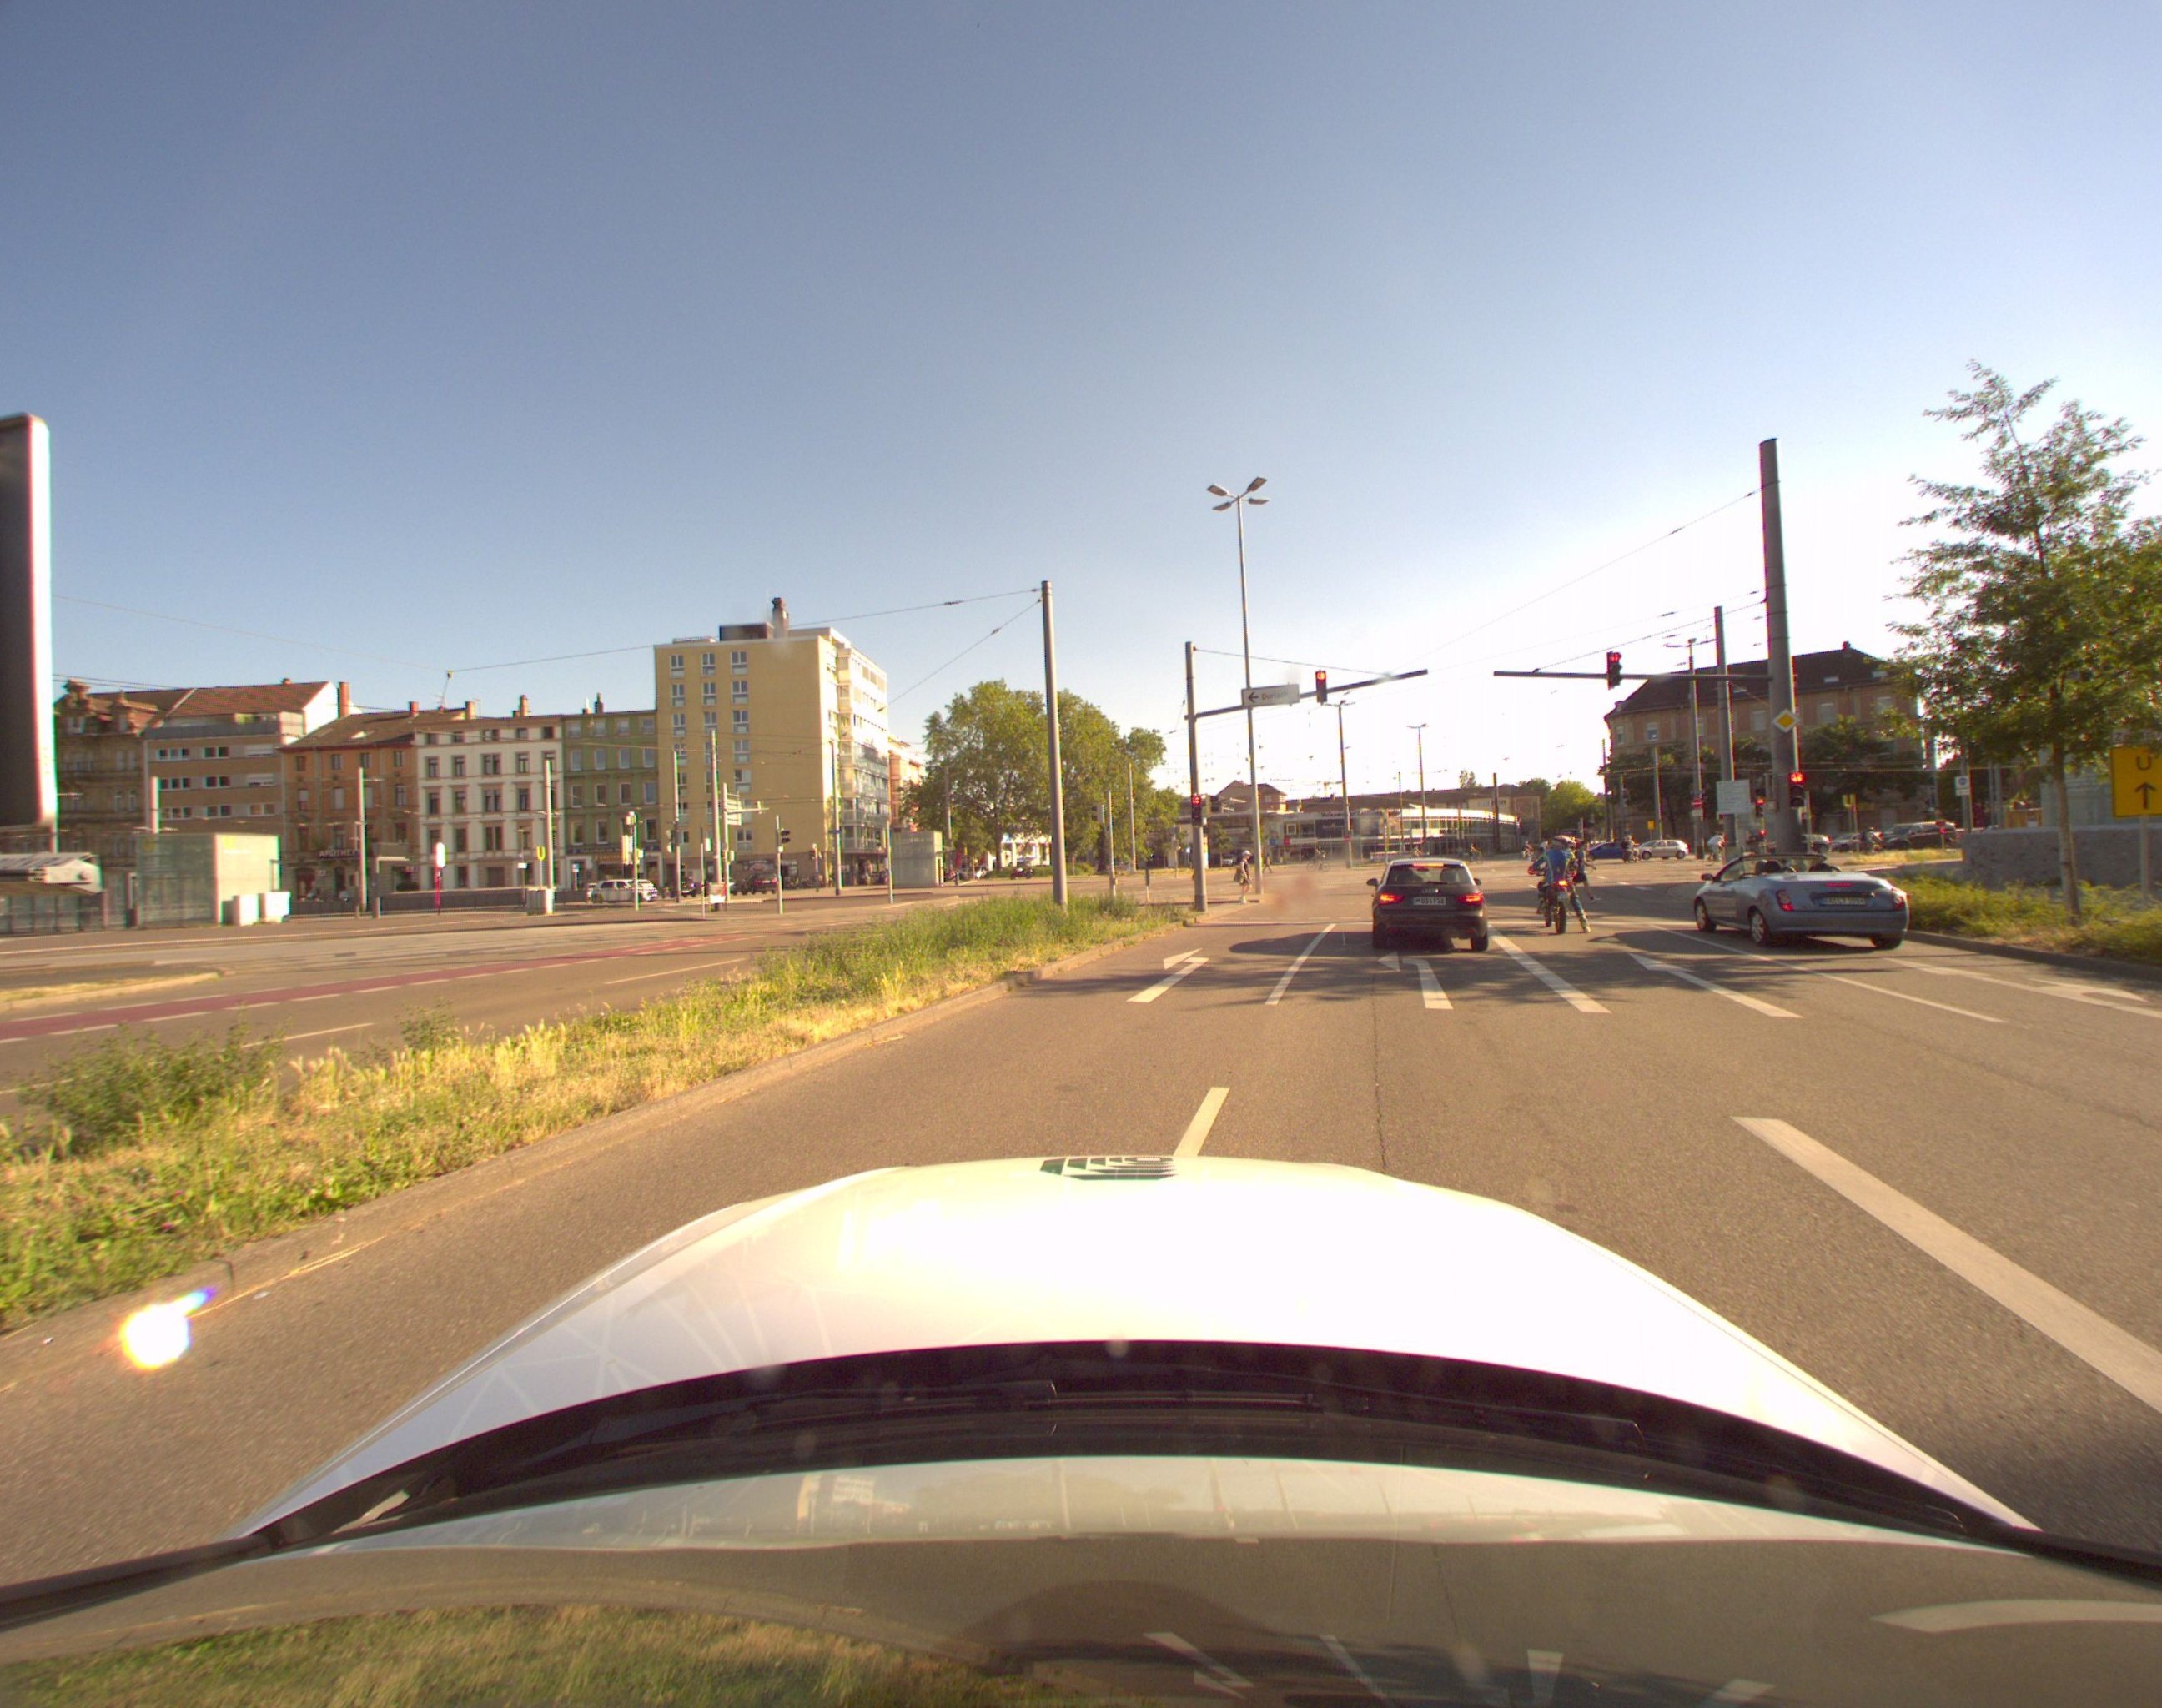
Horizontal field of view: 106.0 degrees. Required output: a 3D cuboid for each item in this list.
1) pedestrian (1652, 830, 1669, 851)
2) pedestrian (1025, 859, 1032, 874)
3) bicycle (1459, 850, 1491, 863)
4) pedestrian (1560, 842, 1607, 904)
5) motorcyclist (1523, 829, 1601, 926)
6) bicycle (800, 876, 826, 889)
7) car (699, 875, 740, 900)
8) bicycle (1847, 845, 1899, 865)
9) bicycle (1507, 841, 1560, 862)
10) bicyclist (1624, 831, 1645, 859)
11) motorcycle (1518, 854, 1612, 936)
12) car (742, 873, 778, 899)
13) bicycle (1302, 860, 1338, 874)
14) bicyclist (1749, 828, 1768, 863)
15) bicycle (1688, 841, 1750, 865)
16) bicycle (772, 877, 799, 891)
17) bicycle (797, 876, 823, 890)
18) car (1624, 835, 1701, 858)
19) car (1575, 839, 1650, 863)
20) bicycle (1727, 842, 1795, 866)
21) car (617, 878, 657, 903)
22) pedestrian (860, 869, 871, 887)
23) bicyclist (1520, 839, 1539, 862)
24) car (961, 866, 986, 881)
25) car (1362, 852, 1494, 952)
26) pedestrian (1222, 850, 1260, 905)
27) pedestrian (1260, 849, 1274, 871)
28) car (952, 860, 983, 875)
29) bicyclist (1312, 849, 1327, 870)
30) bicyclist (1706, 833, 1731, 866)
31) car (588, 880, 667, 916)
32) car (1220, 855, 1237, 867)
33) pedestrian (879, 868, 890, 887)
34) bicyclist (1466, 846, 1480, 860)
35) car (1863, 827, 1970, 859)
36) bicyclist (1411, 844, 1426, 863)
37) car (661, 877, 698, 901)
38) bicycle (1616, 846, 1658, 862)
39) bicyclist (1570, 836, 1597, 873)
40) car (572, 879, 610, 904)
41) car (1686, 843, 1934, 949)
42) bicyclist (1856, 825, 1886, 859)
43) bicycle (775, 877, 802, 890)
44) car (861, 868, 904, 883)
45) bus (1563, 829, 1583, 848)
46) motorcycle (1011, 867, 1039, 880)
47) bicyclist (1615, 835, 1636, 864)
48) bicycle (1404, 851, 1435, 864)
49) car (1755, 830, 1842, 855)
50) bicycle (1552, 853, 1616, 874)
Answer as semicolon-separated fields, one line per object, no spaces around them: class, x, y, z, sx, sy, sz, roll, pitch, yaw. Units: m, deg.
pedestrian;47.332;-1.123;66.504;0.916;1.676;0.787;-3;-1;21
pedestrian;-7.030;1.631;109.579;0.583;2.014;0.714;-3;-1;21
bicycle;32.586;0.232;67.407;2.294;0.959;0.858;-2;1;-8
pedestrian;14.020;0.533;22.730;0.828;1.672;0.694;-2;-1;-18
motorcyclist;8.879;0.438;15.086;1.086;1.721;0.941;-2;-1;22
bicycle;-24.172;2.575;73.380;2.034;1.090;0.777;-2;-1;2
car;-28.629;2.611;64.437;1.849;1.748;3.953;-3;2;-40
bicycle;39.821;0.055;40.964;2.300;0.905;0.856;-2;1;-16
bicycle;39.835;-0.211;71.691;3.970;1.690;1.140;-2;1;3
bicyclist;34.501;-0.544;50.793;0.650;1.690;0.856;-2;1;-14
motorcycle;8.879;0.701;15.070;1.086;1.377;2.667;-2;-1;22
car;-25.506;2.487;64.625;1.860;1.857;3.959;-3;1;-33
bicycle;18.064;0.977;61.608;2.426;1.003;0.964;-2;-1;5
bicyclist;32.730;-0.409;39.337;0.643;1.690;0.866;-1;1;41
bicycle;33.095;-0.061;42.243;2.482;1.133;0.861;-2;1;3
bicycle;-26.332;2.670;72.580;2.034;1.090;0.777;-2;-1;2
bicycle;-24.159;2.594;72.530;2.034;1.090;0.777;-2;-1;2
car;41.775;-0.512;58.576;4.081;1.452;1.953;-2;-1;0
car;40.079;-0.202;61.520;4.558;1.594;1.965;-3;-1;28
bicycle;32.784;0.011;39.301;2.469;1.133;0.866;-1;2;41
car;-35.383;2.854;64.874;2.097;1.719;3.964;-3;2;-38
pedestrian;-19.973;2.227;75.464;0.772;1.676;0.783;-2;-1;4
bicyclist;39.496;-0.311;71.719;1.065;1.900;1.124;-2;1;3
car;-11.451;2.040;86.973;1.838;1.452;4.006;-2;0;5
car;5.868;0.703;13.990;1.785;1.444;3.999;-1;0;21
pedestrian;4.919;0.716;25.063;1.085;1.606;0.701;-2;1;11
pedestrian;15.584;0.513;68.159;0.981;1.816;0.925;-2;1;19
car;-15.743;1.910;112.654;3.992;1.857;1.844;-2;1;-14
bicyclist;18.029;0.399;61.615;0.919;1.559;0.965;-2;-1;6
bicyclist;33.063;-0.254;42.245;0.646;1.690;0.861;-2;1;3
car;-28.621;2.775;51.490;3.720;2.013;2.001;-2;1;2
car;20.970;0.946;115.799;1.978;1.534;4.017;-2;1;16
pedestrian;-18.195;2.168;75.370;0.772;1.676;0.783;-2;-1;4
bicyclist;32.403;-0.103;67.378;0.712;1.143;0.835;-2;1;-7
car;57.116;-0.721;55.764;4.802;1.893;1.960;-2;-1;11
bicyclist;28.921;-0.067;69.826;0.920;1.559;0.860;-2;1;1
car;-31.853;2.737;64.550;1.849;1.719;3.955;-3;2;-38
bicycle;34.712;-0.006;50.862;2.300;0.905;0.856;-2;1;-15
bicyclist;23.671;0.016;38.376;0.743;1.690;0.860;-2;1;0
car;-39.226;2.983;65.174;2.097;1.719;3.964;-3;2;-38
car;11.591;0.581;13.315;1.785;1.444;4.000;-1;0;22
bicyclist;39.715;-0.610;40.936;0.650;1.690;0.856;-2;1;-15
bicycle;-26.380;2.651;73.455;2.034;1.090;0.777;-2;-1;2
car;-20.864;2.254;85.604;3.976;1.422;1.812;-2;-1;-1
bus;79.214;-2.509;131.046;2.331;2.883;9.641;-1;1;33
motorcycle;-4.933;1.725;71.678;2.271;1.054;0.689;-2;1;8
bicyclist;33.905;-0.279;50.676;0.583;1.778;0.863;-2;-1;-13
bicycle;29.003;0.291;69.817;2.288;0.979;0.860;-2;1;0
car;48.803;-0.787;55.482;4.070;1.486;1.956;-2;-1;4
bicycle;23.683;0.455;38.381;2.485;0.874;0.860;-2;1;0
